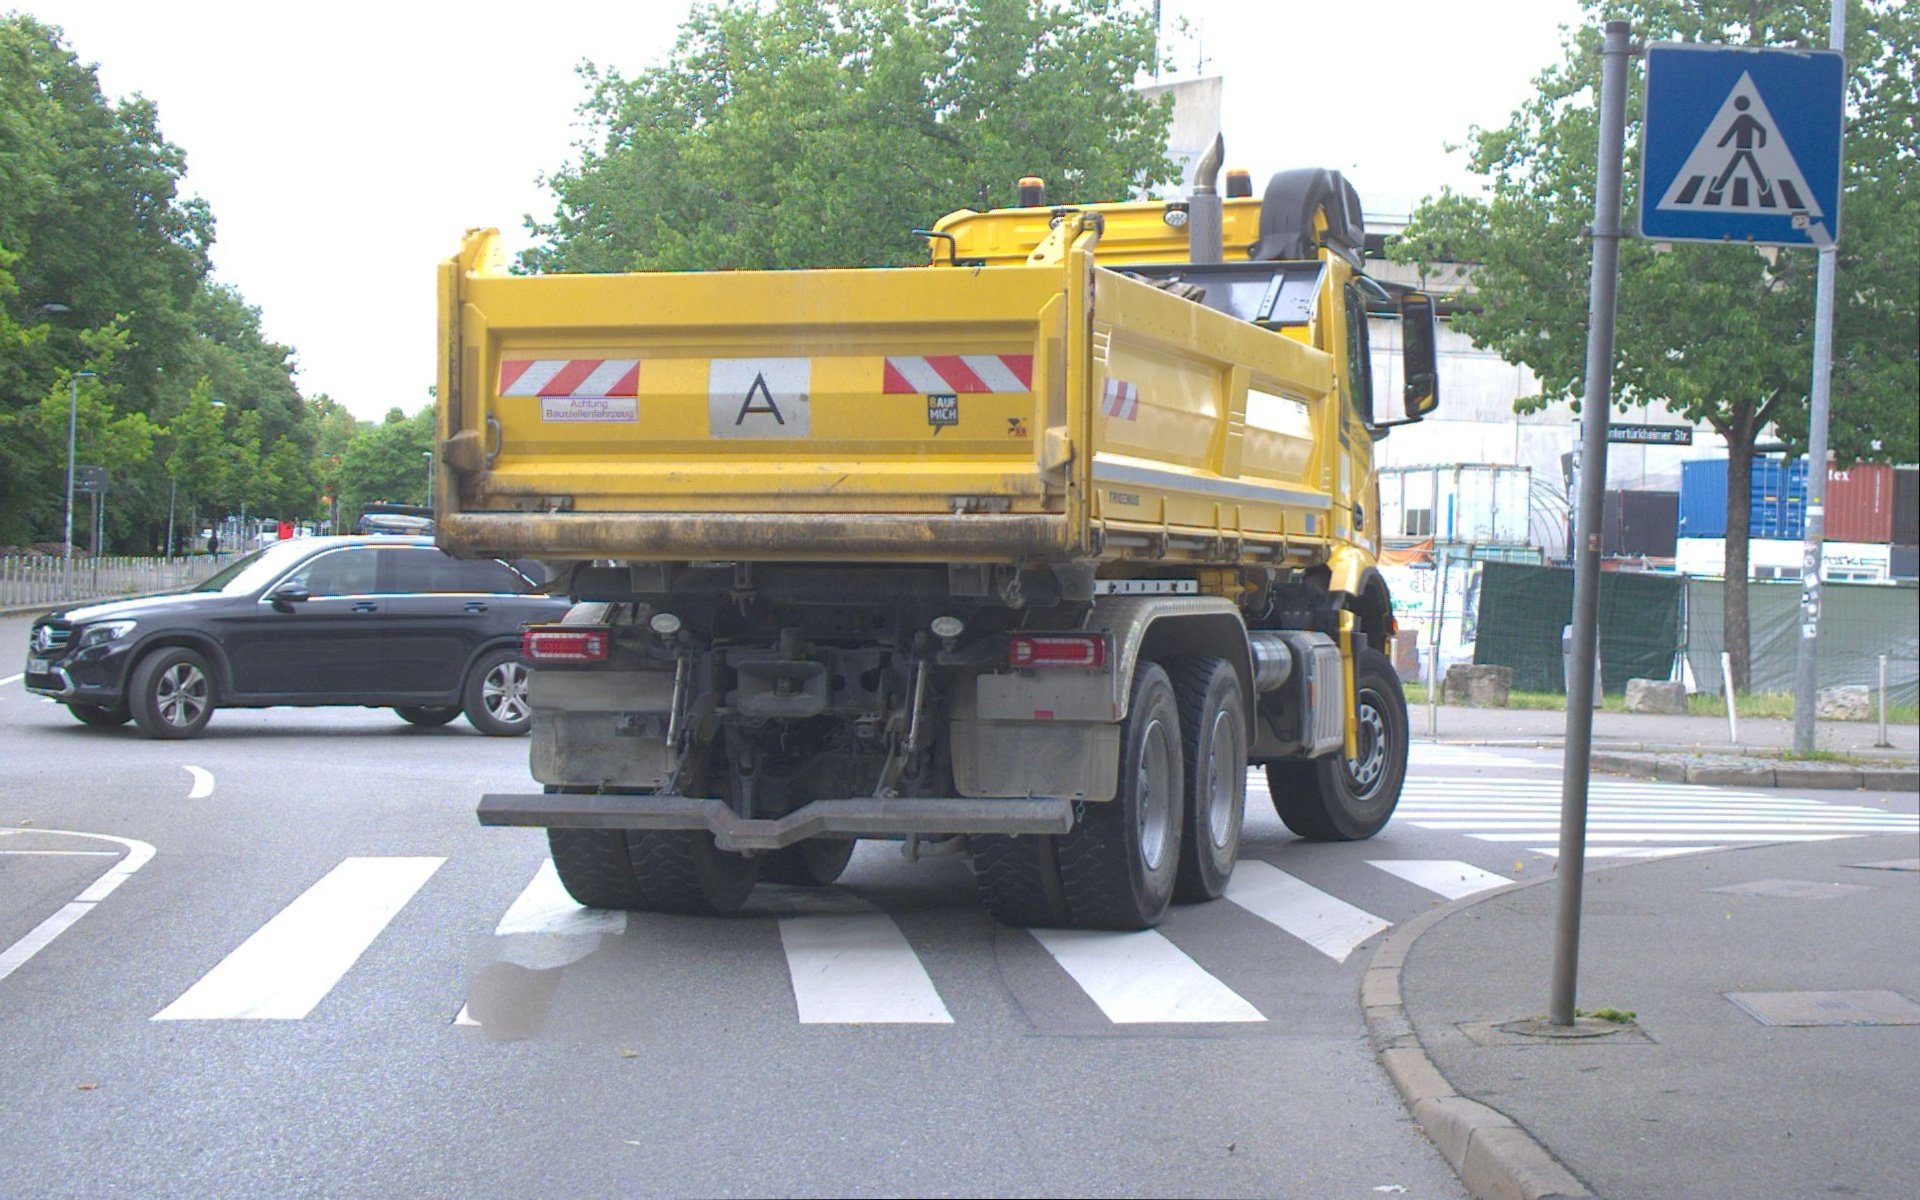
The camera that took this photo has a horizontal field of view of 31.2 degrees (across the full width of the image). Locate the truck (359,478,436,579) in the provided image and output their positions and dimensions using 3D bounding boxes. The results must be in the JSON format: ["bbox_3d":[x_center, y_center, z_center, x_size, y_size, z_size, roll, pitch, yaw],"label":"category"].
[{"bbox_3d":[-20.674,-2.576,126.310,2.672,3.546,7.925,0,0,-10],"label":"truck"}]

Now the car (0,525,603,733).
[{"bbox_3d":[-5.414,0.238,28.319,4.535,1.569,1.845,1,1,-33],"label":"car"}]

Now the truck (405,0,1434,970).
[{"bbox_3d":[0.317,-0.546,16.393,2.760,3.686,7.874,0,0,16],"label":"truck"}]
